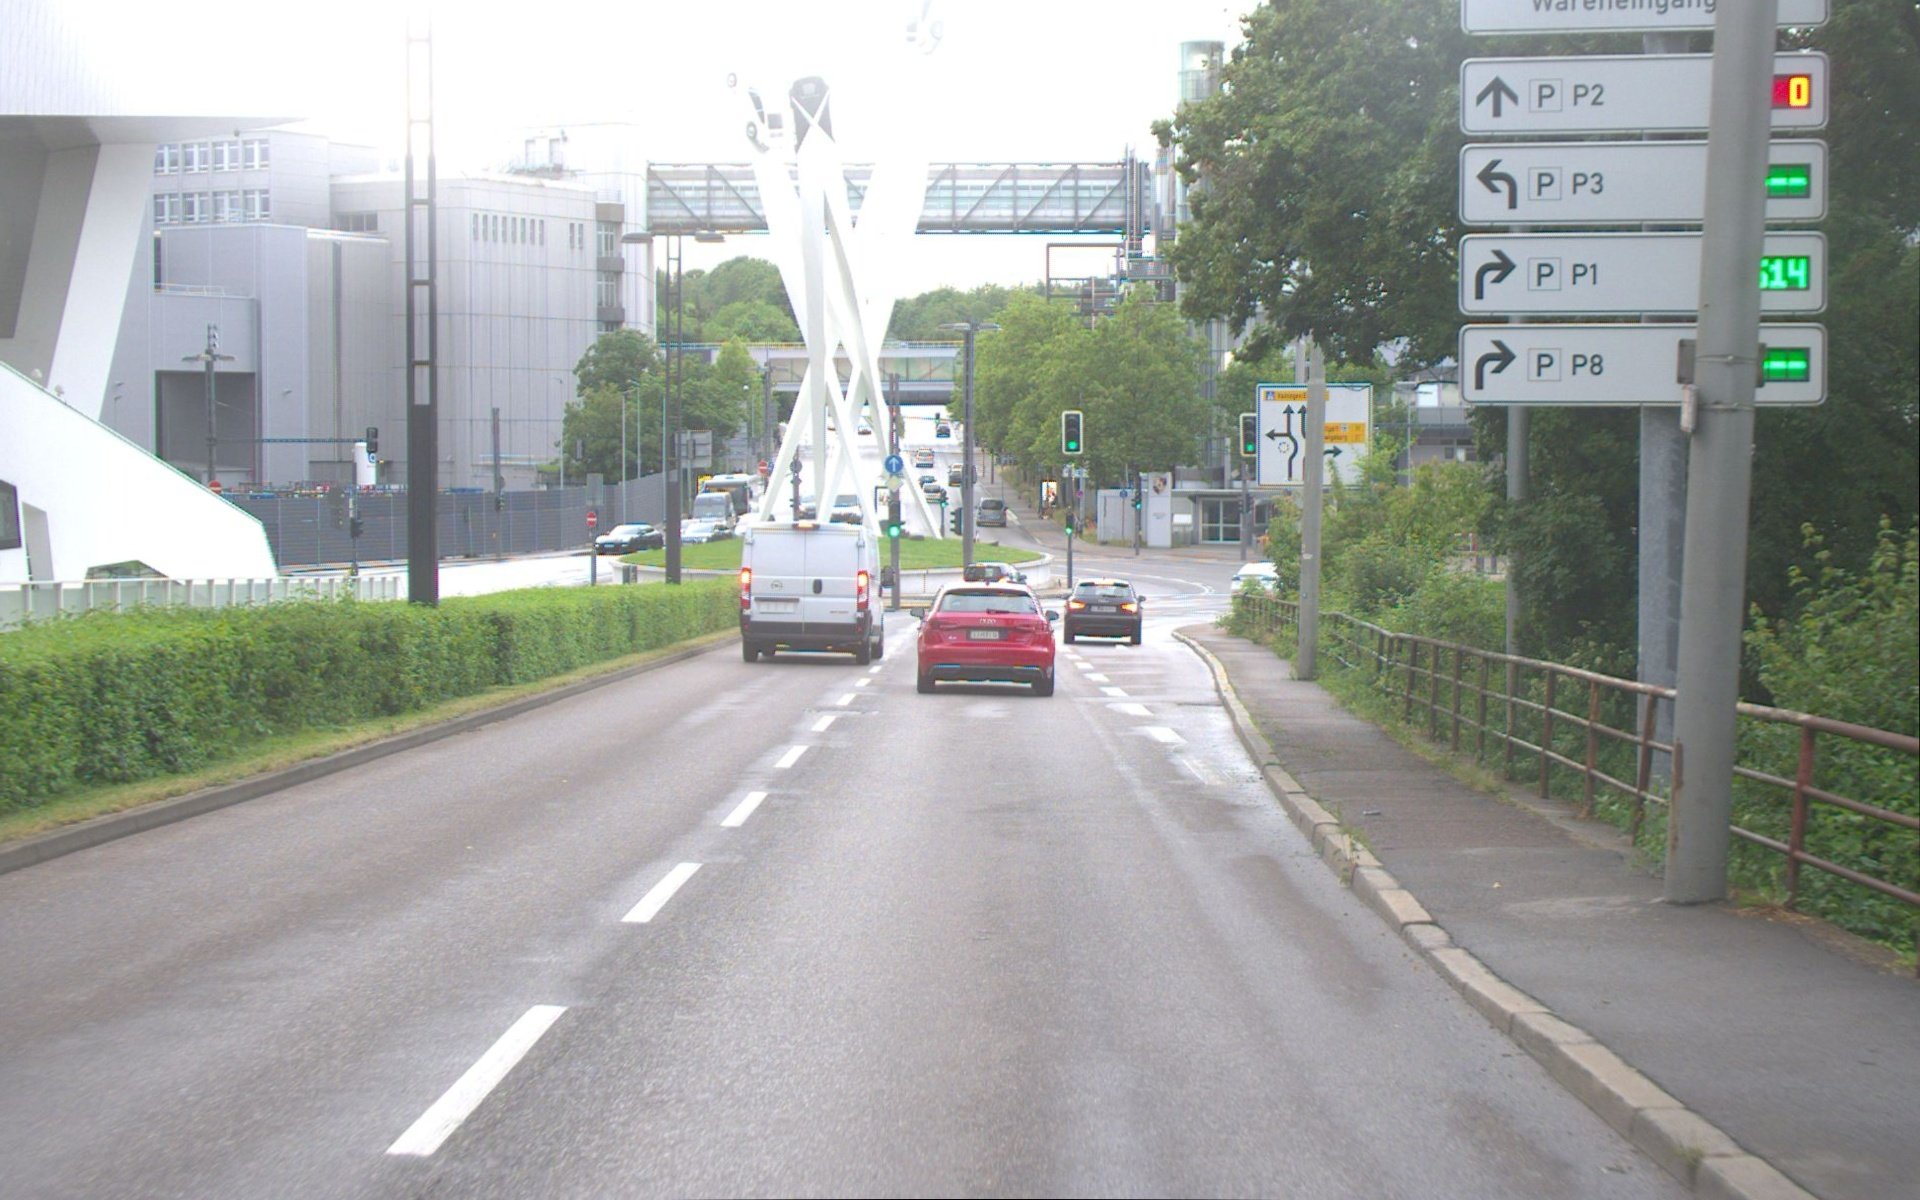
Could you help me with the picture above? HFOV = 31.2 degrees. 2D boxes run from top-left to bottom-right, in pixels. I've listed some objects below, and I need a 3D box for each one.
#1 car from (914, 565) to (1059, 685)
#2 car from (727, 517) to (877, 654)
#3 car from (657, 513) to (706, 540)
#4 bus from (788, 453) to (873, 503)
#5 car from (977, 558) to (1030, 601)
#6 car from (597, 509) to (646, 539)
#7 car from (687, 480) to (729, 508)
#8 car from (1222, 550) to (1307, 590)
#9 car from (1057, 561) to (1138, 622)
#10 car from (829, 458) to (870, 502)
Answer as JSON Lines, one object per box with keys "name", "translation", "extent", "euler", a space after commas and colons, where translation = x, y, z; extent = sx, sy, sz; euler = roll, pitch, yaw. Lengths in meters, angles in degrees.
{"name": "car", "translation": [0.334, 0.301, 44.388], "extent": [1.772, 1.459, 3.733], "euler": [1, 0, 0]}
{"name": "car", "translation": [-2.510, -0.225, 55.907], "extent": [2.232, 2.100, 4.954], "euler": [1, 0, -1]}
{"name": "car", "translation": [-13.797, -3.651, 170.534], "extent": [1.845, 1.333, 4.000], "euler": [1, 1, 4]}
{"name": "bus", "translation": [-8.631, -8.160, 231.120], "extent": [2.670, 3.190, 12.663], "euler": [1, 1, 12]}
{"name": "car", "translation": [1.321, -0.619, 104.539], "extent": [1.557, 1.284, 3.414], "euler": [1, 0, 0]}
{"name": "car", "translation": [-16.760, -3.756, 170.287], "extent": [1.833, 1.467, 4.513], "euler": [1, 1, 2]}
{"name": "car", "translation": [-13.899, -5.834, 189.861], "extent": [1.833, 1.467, 4.513], "euler": [1, 1, 2]}
{"name": "car", "translation": [10.476, -1.024, 118.089], "extent": [1.670, 1.296, 3.880], "euler": [1, 0, 25]}
{"name": "car", "translation": [2.989, -0.186, 75.237], "extent": [1.610, 1.286, 3.566], "euler": [1, 0, 0]}
{"name": "car", "translation": [-6.283, -6.821, 196.521], "extent": [1.993, 2.439, 5.426], "euler": [0, 1, 2]}
